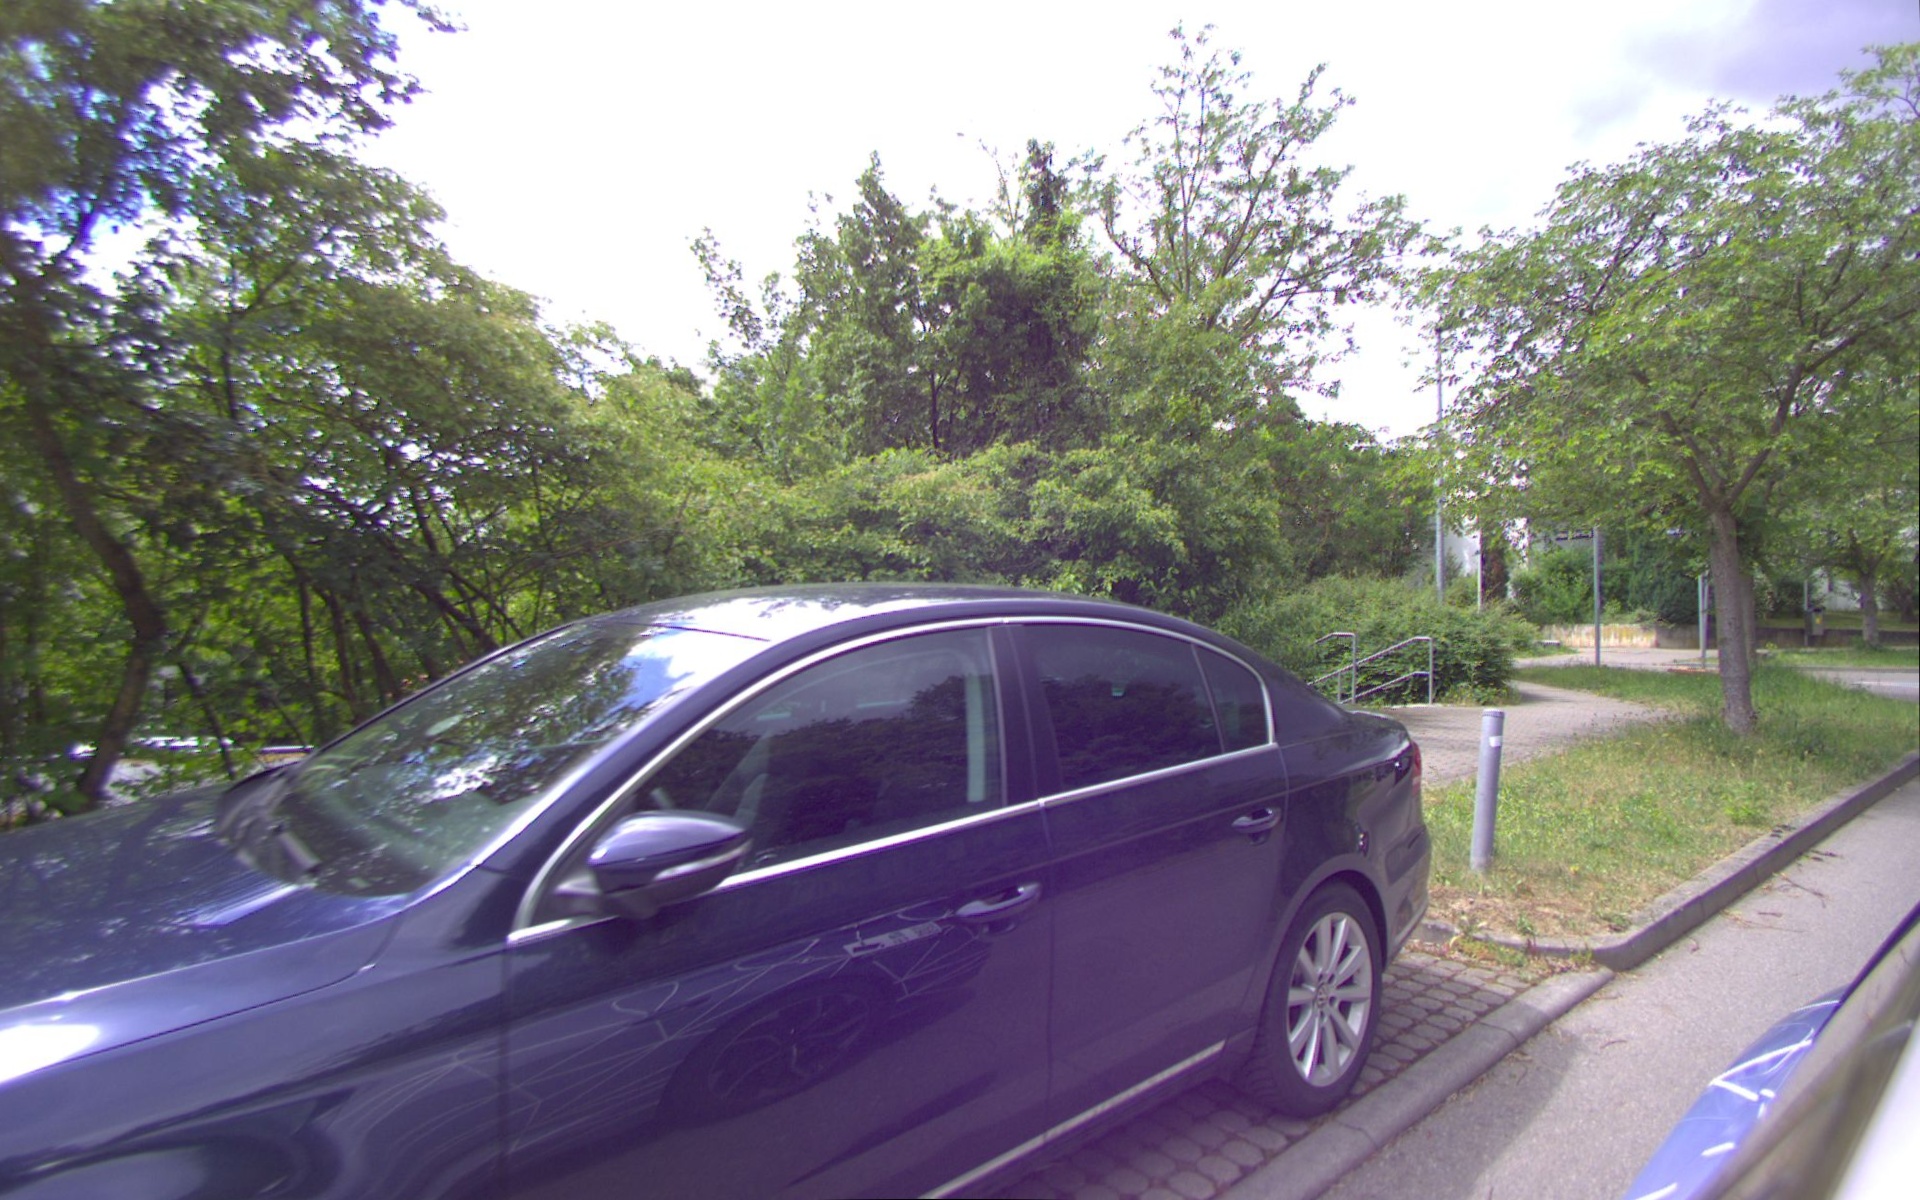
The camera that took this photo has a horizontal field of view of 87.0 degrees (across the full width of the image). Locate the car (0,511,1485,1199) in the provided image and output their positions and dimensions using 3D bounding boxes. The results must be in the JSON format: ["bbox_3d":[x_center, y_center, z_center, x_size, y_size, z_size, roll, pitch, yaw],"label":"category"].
[{"bbox_3d":[-0.448,0.626,2.675,4.256,1.452,1.779,0,1,-40],"label":"car"}]
